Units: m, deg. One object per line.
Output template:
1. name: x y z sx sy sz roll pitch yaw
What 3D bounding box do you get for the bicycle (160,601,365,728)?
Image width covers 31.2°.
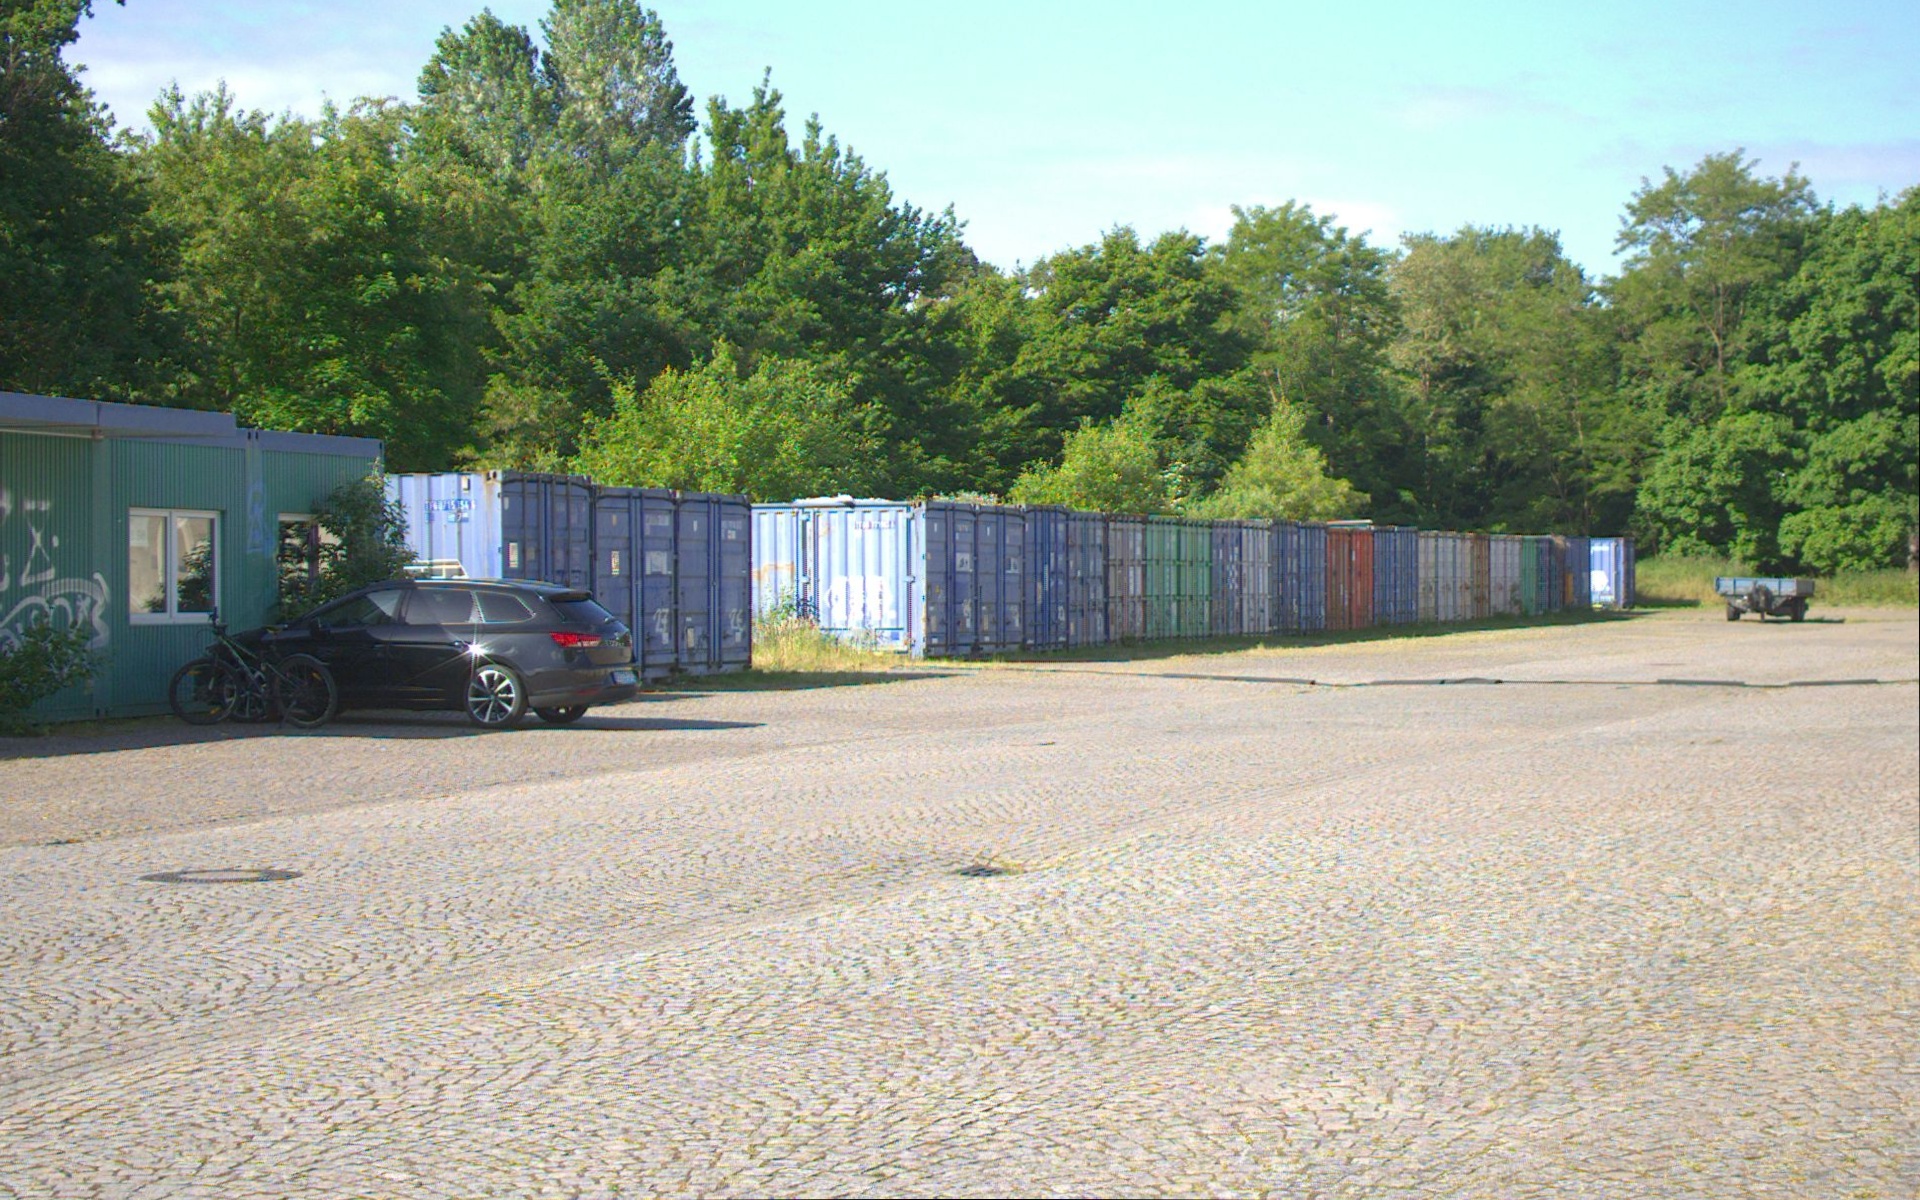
1. bicycle: -6.646 0.605 32.770 1.805 1.166 0.668 1 0 19

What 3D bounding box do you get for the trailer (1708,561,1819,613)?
1. trailer: 25.290 -0.425 107.998 2.708 1.460 6.241 1 2 19

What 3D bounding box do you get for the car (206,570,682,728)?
1. car: -5.105 0.458 34.130 4.255 1.444 1.929 1 0 19
